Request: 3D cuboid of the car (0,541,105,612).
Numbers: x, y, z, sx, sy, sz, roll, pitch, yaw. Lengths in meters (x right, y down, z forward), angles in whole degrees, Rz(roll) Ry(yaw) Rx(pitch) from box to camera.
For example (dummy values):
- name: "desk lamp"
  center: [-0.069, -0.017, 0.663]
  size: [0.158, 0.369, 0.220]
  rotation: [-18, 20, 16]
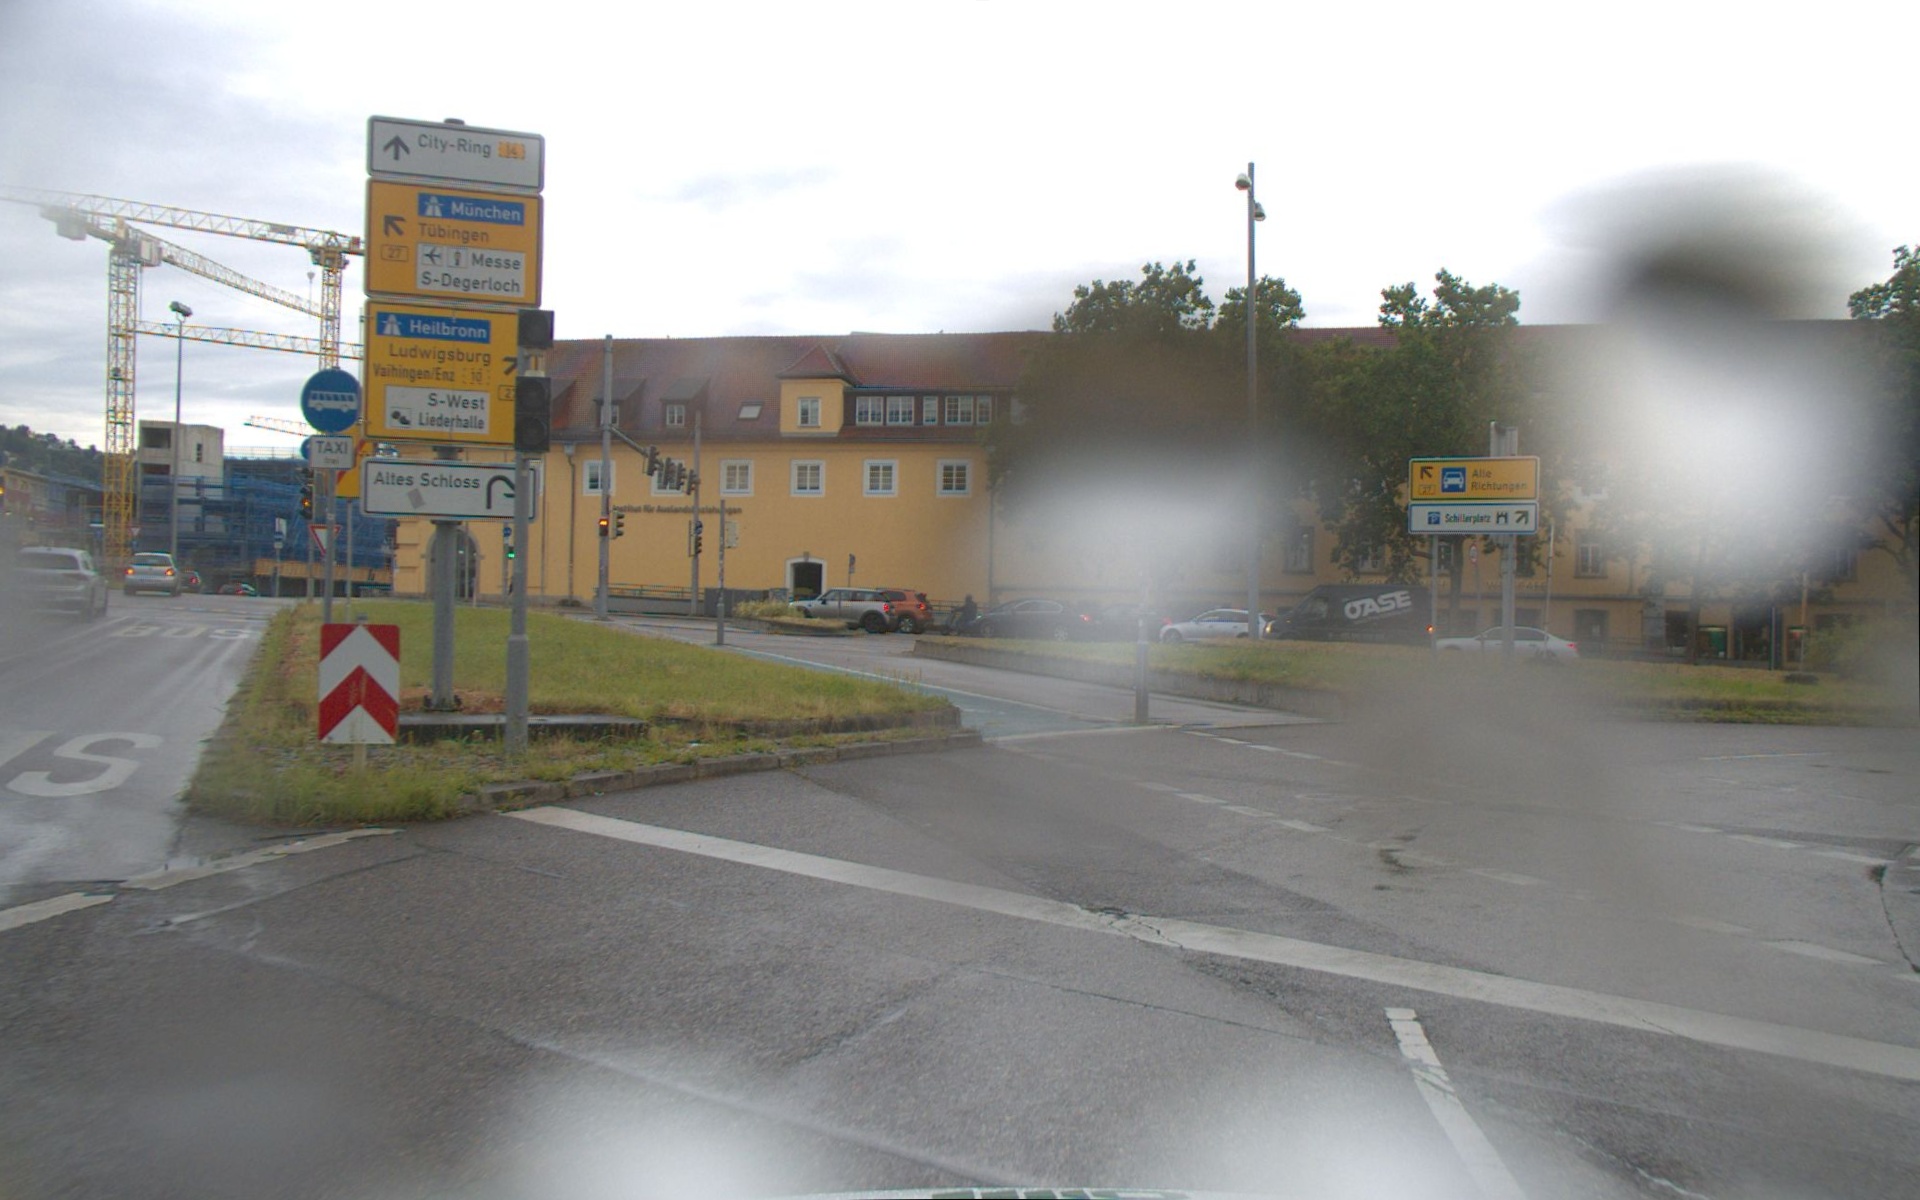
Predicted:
- name: "car"
  center: [-19.214, -0.476, 35.049]
  size: [1.421, 1.383, 2.401]
  rotation: [3, -1, -16]

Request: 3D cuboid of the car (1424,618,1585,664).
- name: "car"
  center: [18.858, 1.427, 57.474]
  size: [5.174, 1.385, 1.558]
  rotation: [2, -1, 13]

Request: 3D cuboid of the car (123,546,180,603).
- name: "car"
  center: [-27.795, -0.899, 56.932]
  size: [1.646, 1.771, 3.262]
  rotation: [3, 1, -25]

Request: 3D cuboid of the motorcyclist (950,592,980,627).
- name: "motorcyclist"
  center: [0.202, 0.359, 61.960]
  size: [1.053, 1.295, 0.692]
  rotation: [2, -2, 2]

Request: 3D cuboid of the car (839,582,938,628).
- name: "car"
  center: [-2.564, 0.202, 59.463]
  size: [3.328, 1.498, 1.653]
  rotation: [2, -1, 4]

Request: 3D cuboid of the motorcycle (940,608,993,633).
- name: "motorcycle"
  center: [0.258, 0.763, 62.002]
  size: [1.923, 0.867, 0.546]
  rotation: [2, -2, 3]

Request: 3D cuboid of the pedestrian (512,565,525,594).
- name: "pedestrian"
  center: [-21.960, -1.026, 82.267]
  size: [0.445, 1.392, 0.444]
  rotation: [2, -2, 19]

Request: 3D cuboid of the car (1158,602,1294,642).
- name: "car"
  center: [8.864, 0.730, 55.324]
  size: [4.294, 1.160, 1.534]
  rotation: [1, -2, 38]

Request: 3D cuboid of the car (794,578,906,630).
- name: "car"
  center: [-3.562, 0.141, 53.939]
  size: [3.329, 1.508, 1.836]
  rotation: [2, -1, 6]

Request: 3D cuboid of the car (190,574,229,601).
- name: "car"
  center: [-42.257, -0.716, 93.168]
  size: [1.689, 1.389, 3.050]
  rotation: [3, -1, -20]

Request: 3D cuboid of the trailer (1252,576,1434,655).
- name: "trailer"
  center: [11.772, 0.512, 50.834]
  size: [5.343, 2.297, 2.001]
  rotation: [-1, -2, 15]

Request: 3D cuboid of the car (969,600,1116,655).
- name: "car"
  center: [2.874, 0.960, 57.616]
  size: [4.705, 1.739, 1.999]
  rotation: [2, -2, 23]

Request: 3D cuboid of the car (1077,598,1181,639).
- name: "car"
  center: [6.216, 0.678, 60.634]
  size: [3.519, 1.360, 1.578]
  rotation: [2, -1, 16]
